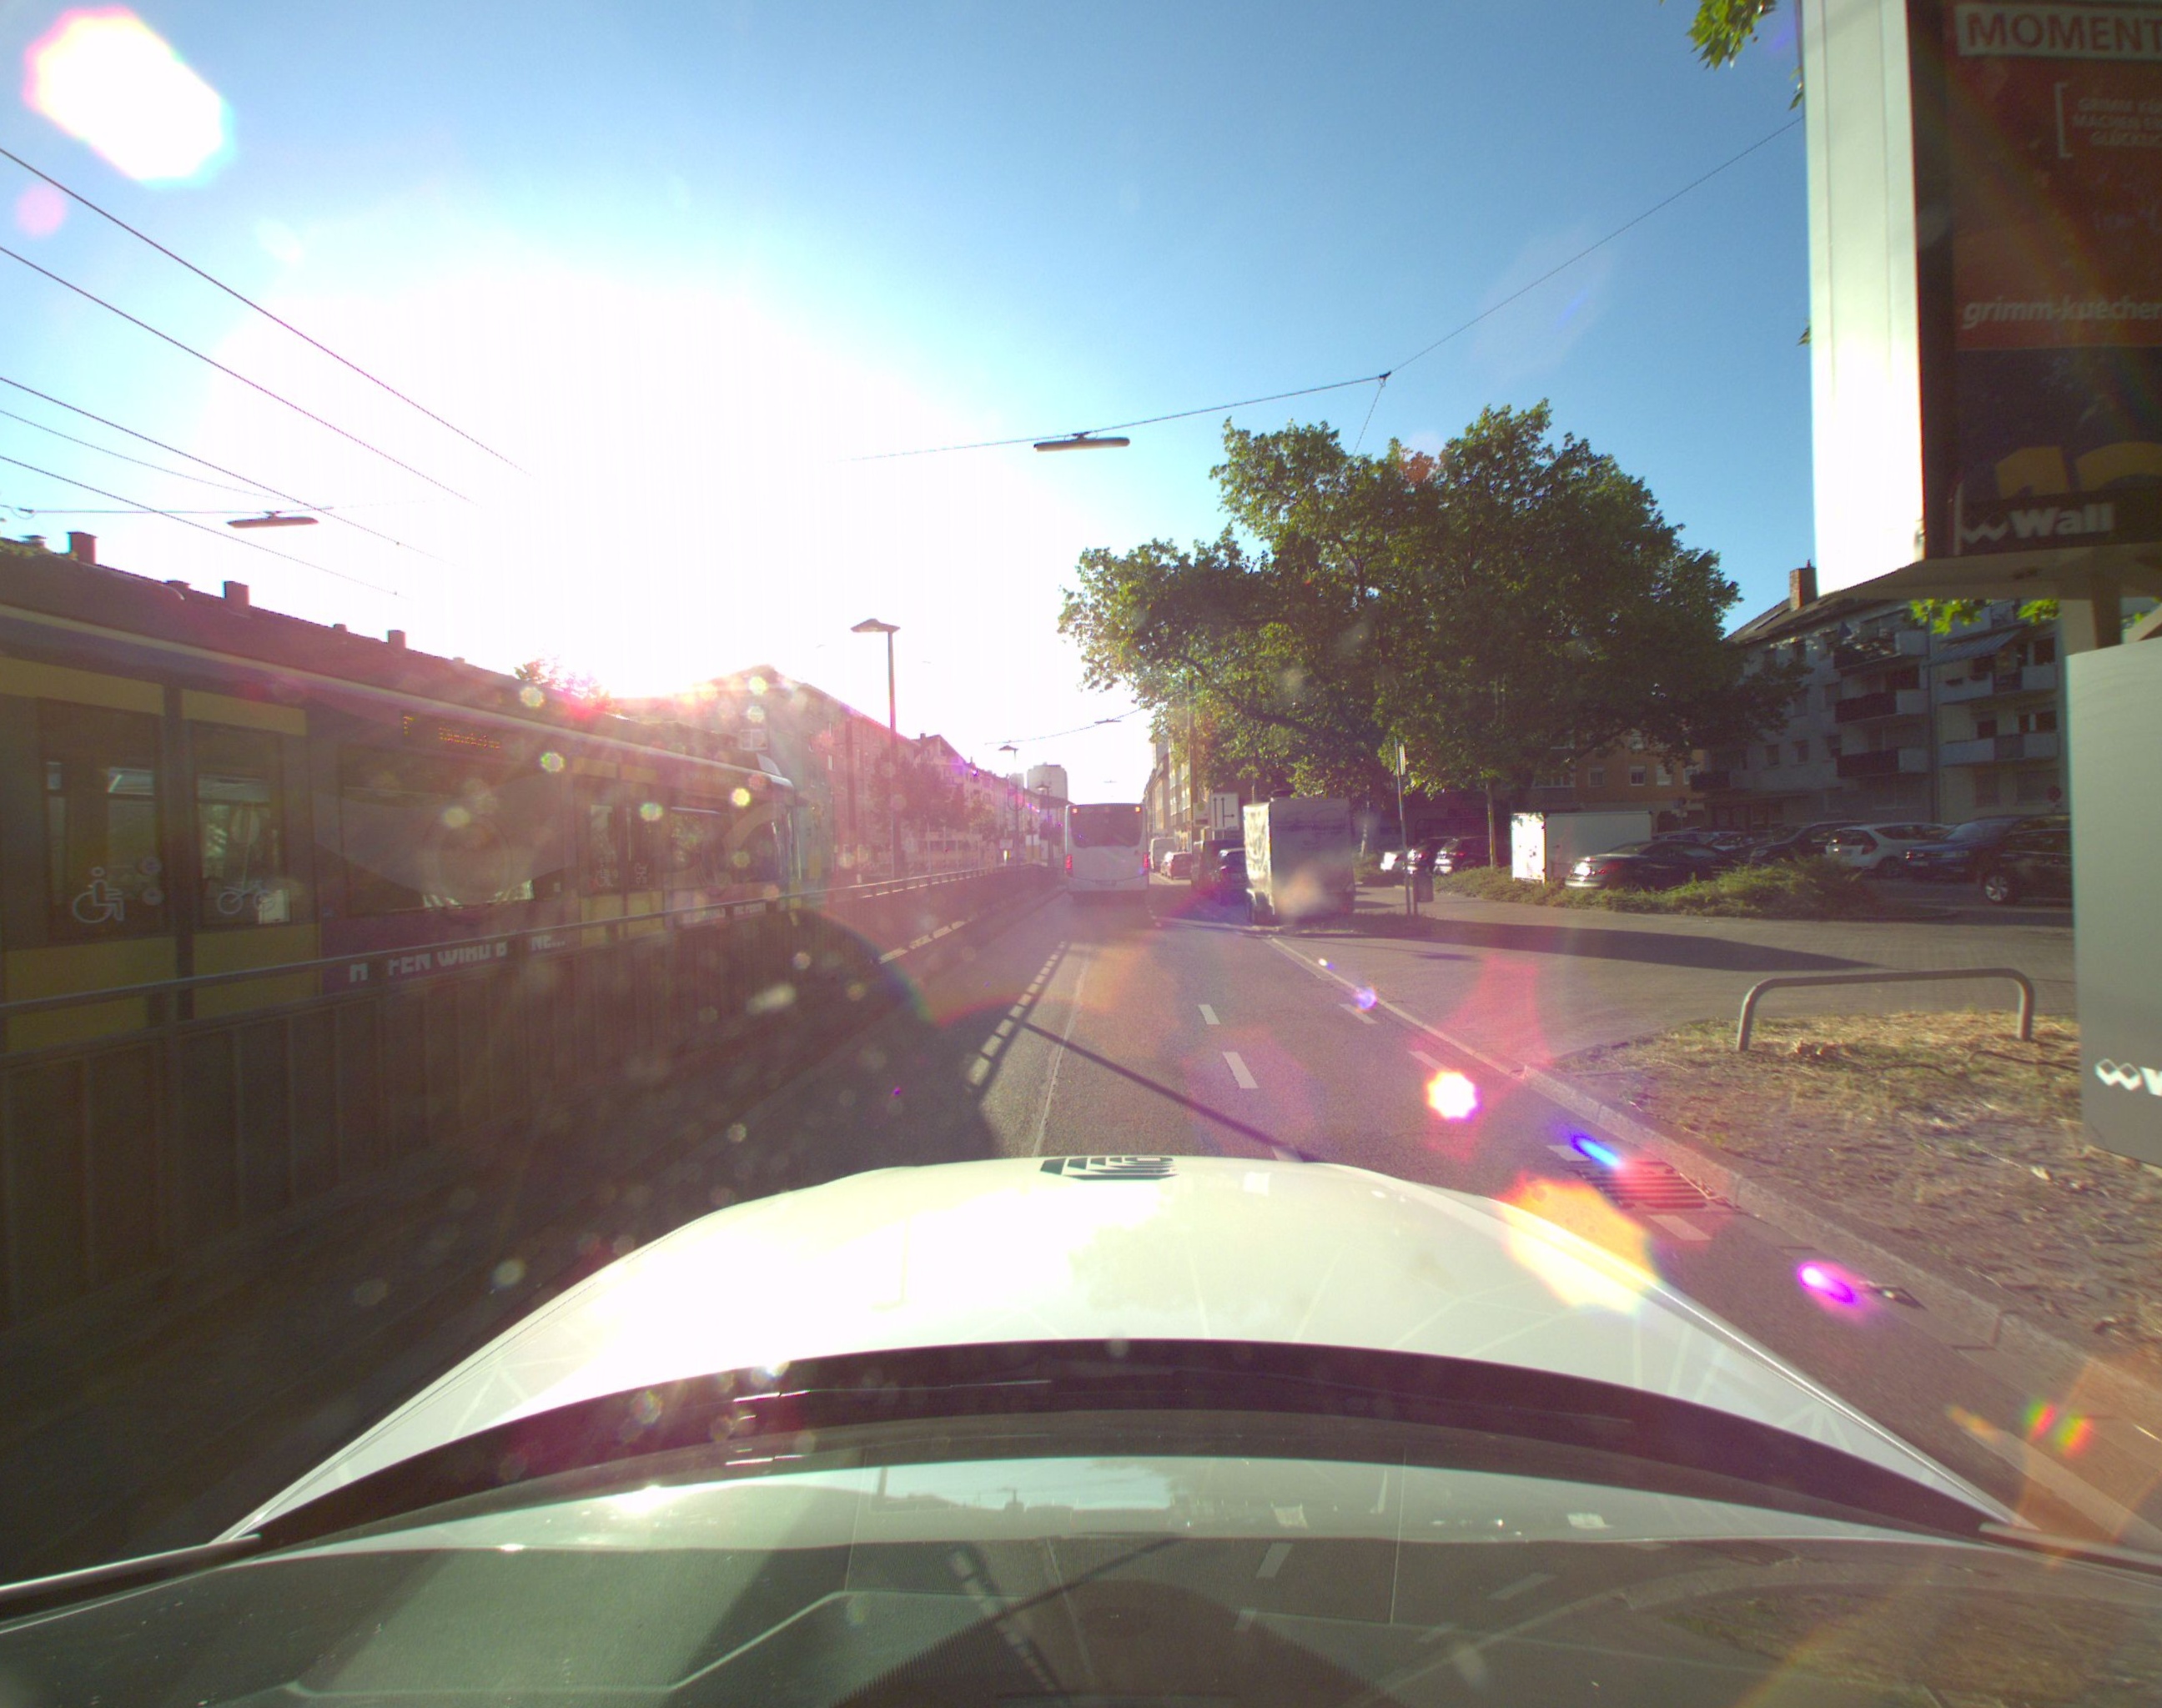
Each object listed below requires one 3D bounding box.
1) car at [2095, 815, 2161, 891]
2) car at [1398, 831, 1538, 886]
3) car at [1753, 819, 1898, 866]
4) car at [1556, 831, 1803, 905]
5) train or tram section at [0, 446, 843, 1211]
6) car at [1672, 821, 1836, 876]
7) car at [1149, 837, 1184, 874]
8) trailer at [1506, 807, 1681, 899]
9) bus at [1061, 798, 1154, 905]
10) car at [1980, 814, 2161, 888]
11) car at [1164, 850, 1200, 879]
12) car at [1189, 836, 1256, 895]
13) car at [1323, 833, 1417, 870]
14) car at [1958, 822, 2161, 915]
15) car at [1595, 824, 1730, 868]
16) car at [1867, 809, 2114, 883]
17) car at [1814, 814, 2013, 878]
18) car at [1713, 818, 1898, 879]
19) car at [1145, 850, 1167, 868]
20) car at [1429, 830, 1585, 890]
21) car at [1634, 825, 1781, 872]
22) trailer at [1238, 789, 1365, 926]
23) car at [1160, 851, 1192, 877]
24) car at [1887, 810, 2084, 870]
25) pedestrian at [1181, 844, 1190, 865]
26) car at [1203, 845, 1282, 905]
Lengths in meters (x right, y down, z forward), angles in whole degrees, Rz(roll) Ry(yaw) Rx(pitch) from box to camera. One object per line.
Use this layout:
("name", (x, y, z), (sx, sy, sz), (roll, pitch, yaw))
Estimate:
("car", (23.642, -0.135, 16.500), (3.905, 1.487, 1.707), (-4, -1, 2))
("car", (13.025, 0.157, 27.564), (3.905, 1.637, 1.707), (-2, 0, 2))
("car", (31.235, -0.485, 34.263), (4.260, 1.642, 1.873), (-4, -1, 2))
("car", (12.532, 0.282, 17.240), (3.904, 1.336, 1.708), (-2, 0, 3))
("train or tram section", (-6.070, -0.099, 8.386), (2.630, 3.519, 13.342), (-2, 0, 3))
("car", (24.204, -0.203, 29.416), (4.260, 1.642, 1.873), (-4, -1, 2))
("car", (6.483, 0.108, 62.433), (2.273, 2.627, 5.312), (-2, 0, 2))
("trailer", (12.438, -0.021, 19.935), (3.051, 2.069, 1.880), (-2, 0, 3))
("bus", (0.943, -0.082, 29.586), (2.723, 3.139, 10.707), (-1, 0, 2))
("car", (23.787, -0.107, 18.865), (3.905, 1.435, 1.707), (-4, 0, 2))
("car", (5.737, 0.589, 46.551), (1.665, 1.463, 3.936), (-4, 0, 2))
("car", (5.195, 0.406, 30.522), (1.839, 1.956, 4.546), (-2, 0, 2))
("car", (13.767, -0.110, 38.948), (3.905, 1.588, 1.707), (-2, 0, 2))
("car", (18.065, 0.191, 14.108), (1.778, 1.436, 4.254), (-2, 0, 12))
("car", (24.365, -0.326, 34.220), (4.260, 1.642, 1.873), (-2, 0, 2))
("car", (24.135, -0.198, 21.748), (4.262, 1.587, 2.026), (-4, 0, 0))
("car", (24.479, -0.230, 24.074), (3.879, 1.555, 1.831), (-4, -1, 2))
("car", (23.568, -0.161, 26.626), (4.260, 1.642, 1.873), (-4, -1, 2))
("car", (6.780, 0.421, 73.721), (1.722, 1.575, 3.677), (-2, 0, 2))
("car", (13.095, 0.187, 25.197), (3.905, 1.636, 1.707), (-2, 0, 2))
("car", (24.400, -0.215, 31.822), (4.260, 1.642, 1.873), (-2, 0, 2))
("trailer", (4.560, 0.067, 17.355), (1.825, 2.557, 3.320), (-3, 0, 2))
("car", (5.967, 0.590, 51.430), (1.665, 1.463, 3.936), (-4, 0, 2))
("car", (29.612, -0.438, 26.774), (4.260, 1.642, 1.873), (-4, -1, 2))
("pedestrian", (9.870, 0.094, 77.001), (0.682, 1.947, 1.117), (-1, -2, 2))
("car", (4.744, 0.596, 24.378), (1.694, 1.588, 3.830), (-2, 0, 2))
